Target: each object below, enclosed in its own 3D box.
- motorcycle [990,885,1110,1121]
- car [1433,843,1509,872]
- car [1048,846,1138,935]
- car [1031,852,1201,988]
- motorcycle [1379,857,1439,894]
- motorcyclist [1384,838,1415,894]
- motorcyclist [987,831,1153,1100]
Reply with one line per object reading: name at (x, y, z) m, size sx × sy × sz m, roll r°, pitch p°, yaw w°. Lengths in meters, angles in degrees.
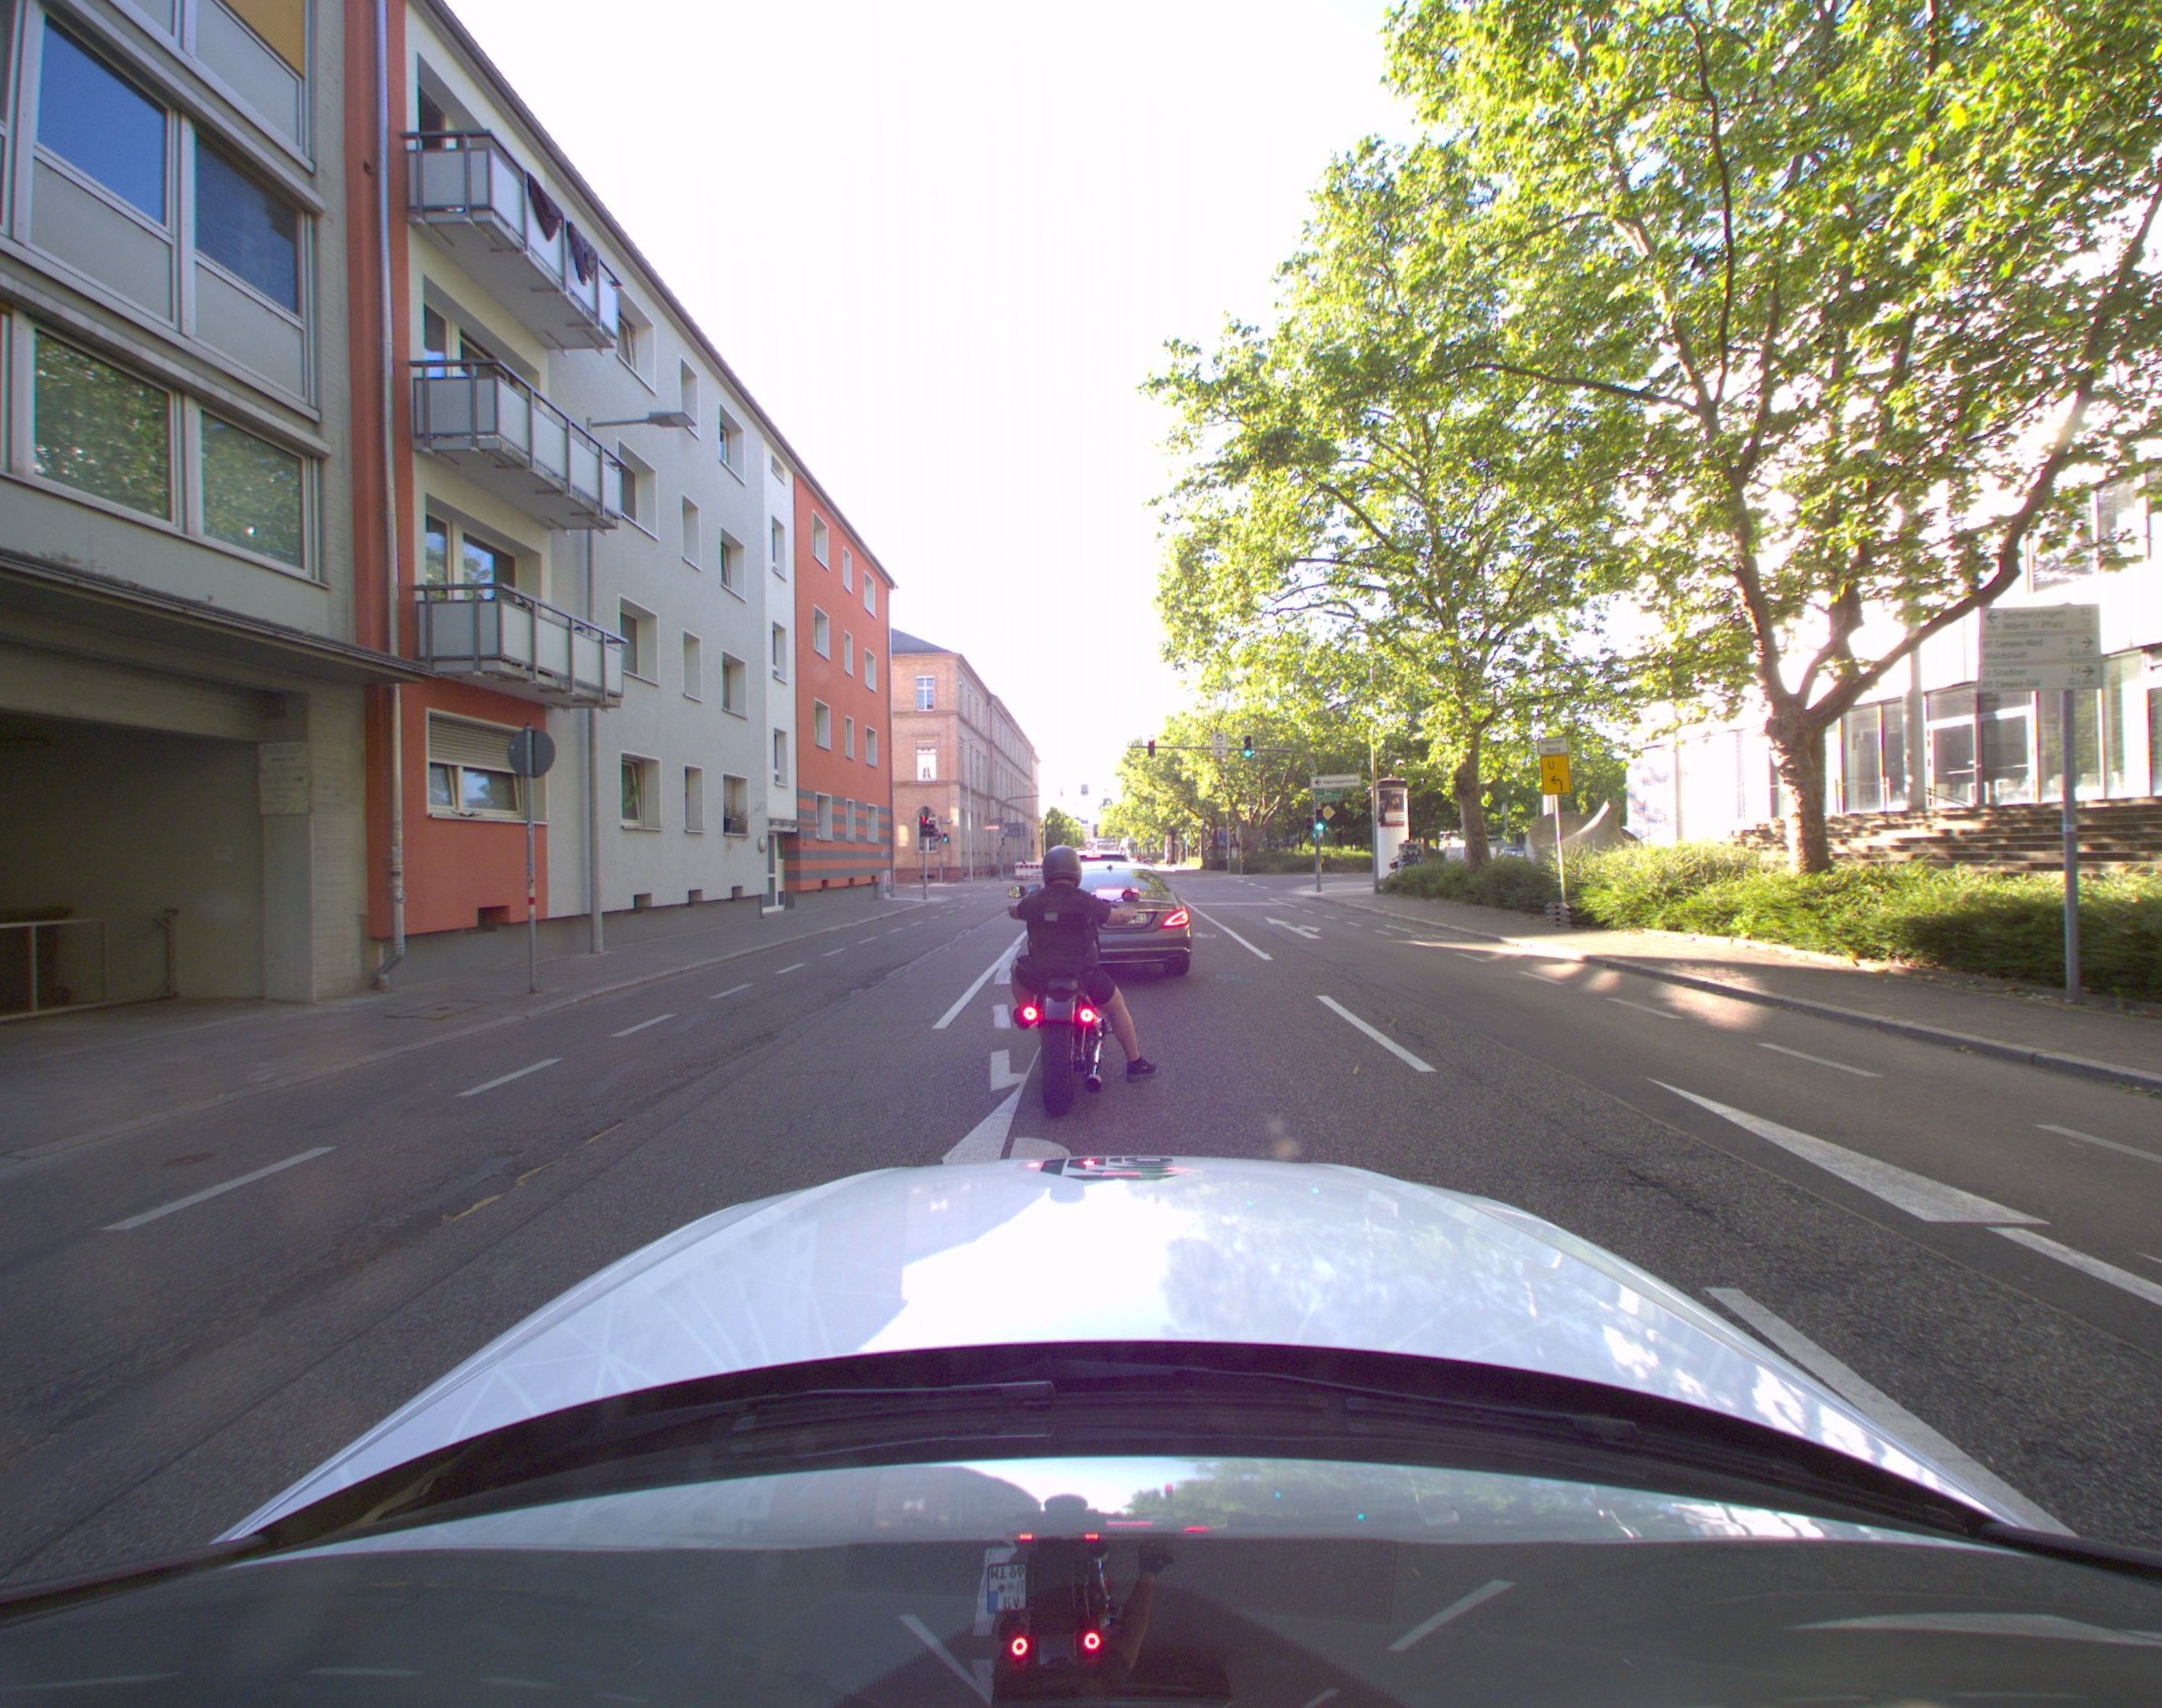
motorcycle at (-0.138, 0.865, 5.539) m, size 0.657 × 1.240 × 2.058 m, roll 0°, pitch -1°, yaw 2°
car at (24.632, 0.210, 51.521) m, size 3.974 × 1.772 × 1.738 m, roll -1°, pitch 0°, yaw -1°
car at (0.290, 0.693, 17.092) m, size 1.645 × 1.652 × 4.002 m, roll 0°, pitch -1°, yaw 2°
car at (0.265, 0.748, 11.241) m, size 1.821 × 1.486 × 4.325 m, roll 0°, pitch -1°, yaw -5°
motorcycle at (11.074, 0.715, 27.542) m, size 1.771 × 1.243 × 0.724 m, roll 0°, pitch -1°, yaw 7°
motorcyclist at (10.771, 0.396, 27.566) m, size 0.818 × 1.863 × 0.673 m, roll 0°, pitch -1°, yaw 7°
motorcyclist at (-0.049, 0.673, 5.446) m, size 0.986 × 1.611 × 1.121 m, roll 0°, pitch -1°, yaw 1°
